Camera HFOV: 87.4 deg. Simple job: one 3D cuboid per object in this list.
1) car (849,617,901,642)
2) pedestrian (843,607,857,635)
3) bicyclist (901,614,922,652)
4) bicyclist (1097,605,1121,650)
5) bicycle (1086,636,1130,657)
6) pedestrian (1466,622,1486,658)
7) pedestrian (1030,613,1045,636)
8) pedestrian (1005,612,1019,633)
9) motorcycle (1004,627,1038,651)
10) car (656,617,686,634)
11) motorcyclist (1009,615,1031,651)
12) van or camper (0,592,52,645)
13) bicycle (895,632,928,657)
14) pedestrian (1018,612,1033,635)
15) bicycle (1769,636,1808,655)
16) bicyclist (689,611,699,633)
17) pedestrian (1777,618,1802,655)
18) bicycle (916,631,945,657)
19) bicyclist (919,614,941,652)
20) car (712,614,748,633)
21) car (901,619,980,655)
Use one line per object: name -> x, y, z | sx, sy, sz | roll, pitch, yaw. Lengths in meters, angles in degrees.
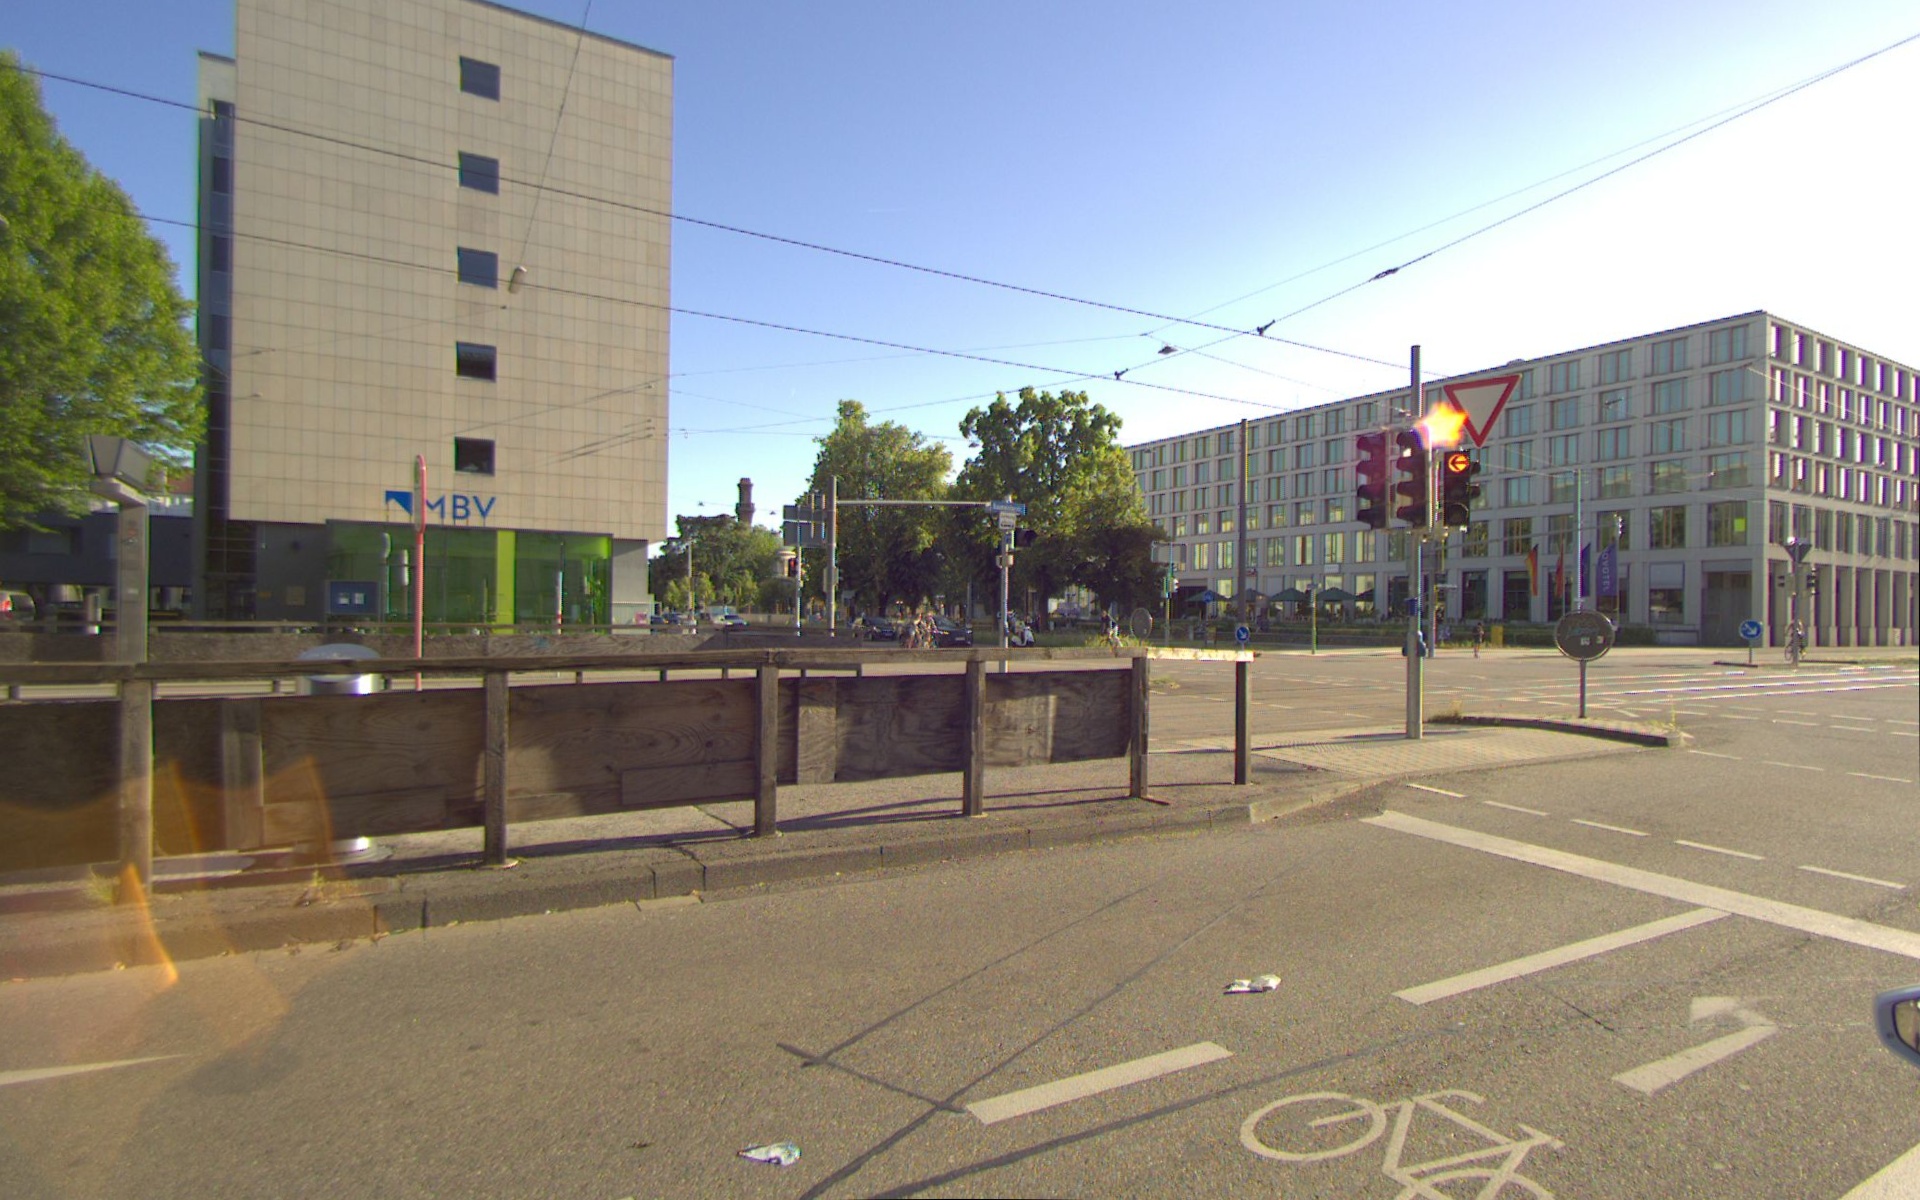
car -> -5.333, 1.804, 62.710 | 1.674, 1.506, 3.719 | 1, -1, -33
pedestrian -> -8.150, 1.557, 74.144 | 0.772, 2.040, 0.747 | 1, -1, -31
bicyclist -> -2.031, 1.367, 42.023 | 0.577, 1.563, 0.833 | 1, -2, -32
bicyclist -> 5.957, 1.100, 40.212 | 0.762, 1.784, 0.532 | 1, -1, -30
bicycle -> 5.936, 1.848, 40.188 | 1.831, 0.798, 0.532 | 1, -1, -30
pedestrian -> 25.092, 1.943, 48.846 | 0.597, 1.703, 0.602 | 1, -1, -22
pedestrian -> 6.134, 1.947, 79.421 | 0.858, 1.738, 0.737 | 2, 0, -26
pedestrian -> 4.338, 1.870, 83.573 | 0.858, 1.738, 0.737 | 2, 0, -26
motorcycle -> 2.849, 1.819, 46.962 | 0.624, 1.030, 1.972 | -3, 1, -28
car -> -28.305, 2.476, 98.291 | 1.975, 1.472, 4.179 | 2, 0, -28
motorcyclist -> 2.809, 1.538, 46.993 | 0.624, 1.601, 0.812 | -3, 1, -28
van or camper -> -27.887, 0.430, 27.574 | 3.954, 1.425, 1.954 | 4, -3, -30
bicycle -> -2.036, 1.845, 42.026 | 0.577, 1.032, 1.806 | 1, -3, -31
pedestrian -> 5.202, 1.878, 79.811 | 0.858, 1.738, 0.737 | 2, 0, -26
bicycle -> 36.220, 1.991, 43.897 | 1.693, 0.834, 0.571 | 1, -1, -22
bicyclist -> -20.933, 1.739, 79.032 | 0.576, 1.658, 0.890 | 1, -1, -27
pedestrian -> 36.262, 1.597, 43.919 | 0.734, 1.616, 0.571 | 1, -1, -22
bicycle -> -1.265, 1.840, 42.387 | 0.576, 1.032, 1.666 | 1, -1, -27
bicyclist -> -1.271, 1.380, 42.423 | 0.576, 1.563, 0.890 | 1, -1, -27
car -> -19.549, 1.958, 85.209 | 1.975, 1.472, 4.179 | 2, 0, -28
car -> -0.932, 1.654, 45.754 | 1.925, 1.561, 3.969 | 2, -2, -29
